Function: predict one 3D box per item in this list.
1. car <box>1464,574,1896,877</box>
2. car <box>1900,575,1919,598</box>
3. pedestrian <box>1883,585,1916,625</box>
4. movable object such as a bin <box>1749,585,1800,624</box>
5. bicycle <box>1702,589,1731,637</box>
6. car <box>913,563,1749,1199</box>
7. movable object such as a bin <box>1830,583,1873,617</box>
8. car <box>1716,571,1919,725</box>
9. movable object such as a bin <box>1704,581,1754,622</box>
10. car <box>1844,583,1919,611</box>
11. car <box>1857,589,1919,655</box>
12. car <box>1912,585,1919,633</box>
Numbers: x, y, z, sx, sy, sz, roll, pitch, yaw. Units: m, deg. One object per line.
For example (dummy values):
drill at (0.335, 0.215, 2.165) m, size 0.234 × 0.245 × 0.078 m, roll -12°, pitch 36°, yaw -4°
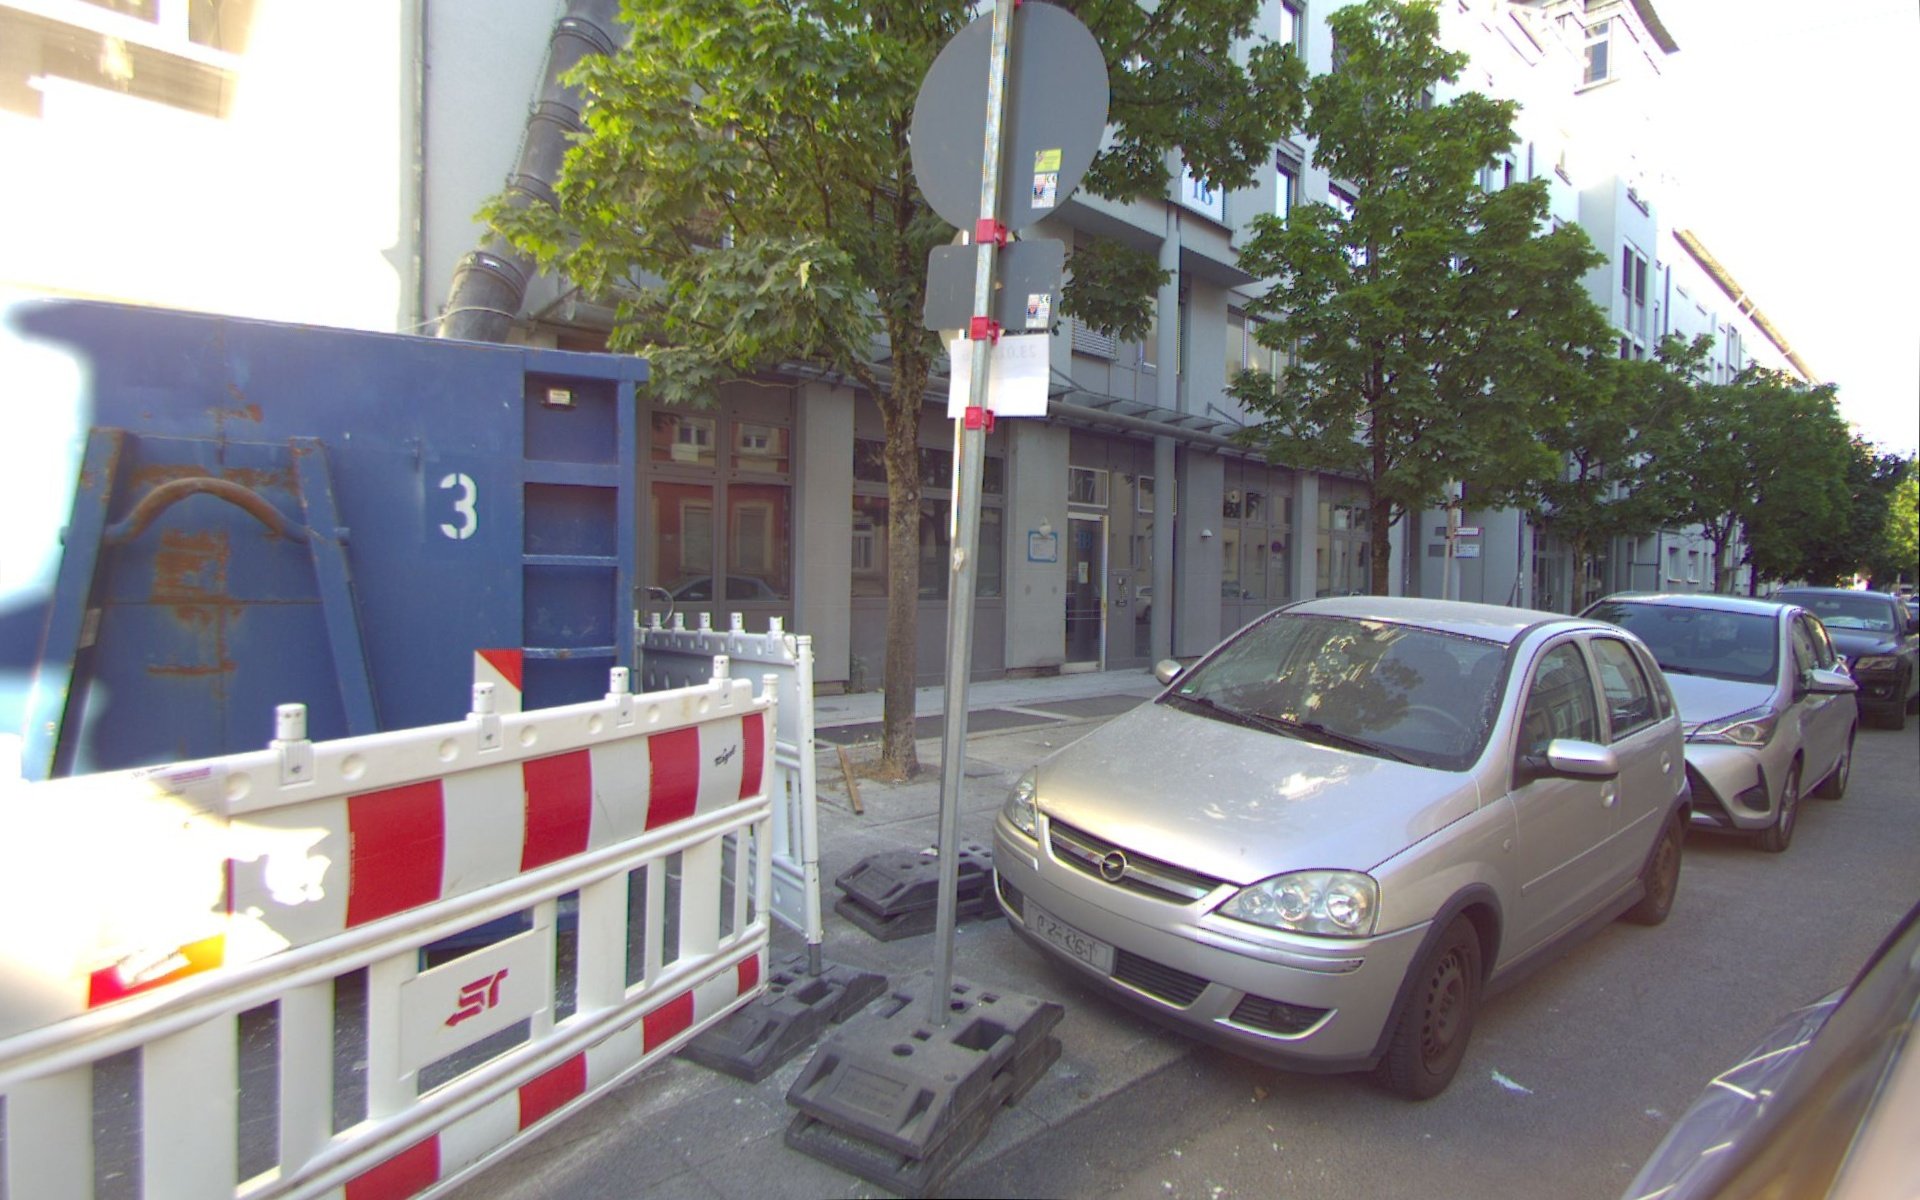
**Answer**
car at (5.320, 0.636, 7.282) m, size 3.902 × 1.543 × 1.679 m, roll -1°, pitch 3°, yaw -42°
car at (96.853, -1.345, 101.808) m, size 2.147 × 2.311 × 6.136 m, roll 3°, pitch 3°, yaw 33°
pedestrian at (35.397, 0.177, 38.116) m, size 0.856 × 1.481 × 0.800 m, roll 0°, pitch 3°, yaw -44°
movable object such as a bin at (29.641, 0.148, 36.838) m, size 1.120 × 1.337 × 1.263 m, roll 0°, pitch 3°, yaw -43°
bicycle at (19.612, 0.318, 26.258) m, size 0.518 × 1.182 × 1.718 m, roll 3°, pitch 3°, yaw 36°
car at (1.775, 0.651, 4.249) m, size 3.664 × 1.493 × 1.680 m, roll 0°, pitch 3°, yaw -41°
movable object such as a bin at (40.510, -0.003, 45.990) m, size 1.203 × 1.454 × 1.286 m, roll 0°, pitch 3°, yaw -43°
car at (11.679, 0.494, 13.411) m, size 4.360 × 1.642 × 1.888 m, roll -1°, pitch 4°, yaw -43°
movable object such as a bin at (28.585, 0.032, 37.629) m, size 1.120 × 1.454 × 1.263 m, roll 0°, pitch 3°, yaw -43°
car at (60.222, -0.202, 65.745) m, size 1.968 × 1.584 × 3.991 m, roll -1°, pitch 4°, yaw -45°
car at (23.338, 0.499, 24.672) m, size 4.272 × 1.446 × 1.766 m, roll -1°, pitch 4°, yaw -43°
car at (35.244, 0.339, 35.957) m, size 1.873 × 1.655 × 4.646 m, roll 4°, pitch 4°, yaw 45°
